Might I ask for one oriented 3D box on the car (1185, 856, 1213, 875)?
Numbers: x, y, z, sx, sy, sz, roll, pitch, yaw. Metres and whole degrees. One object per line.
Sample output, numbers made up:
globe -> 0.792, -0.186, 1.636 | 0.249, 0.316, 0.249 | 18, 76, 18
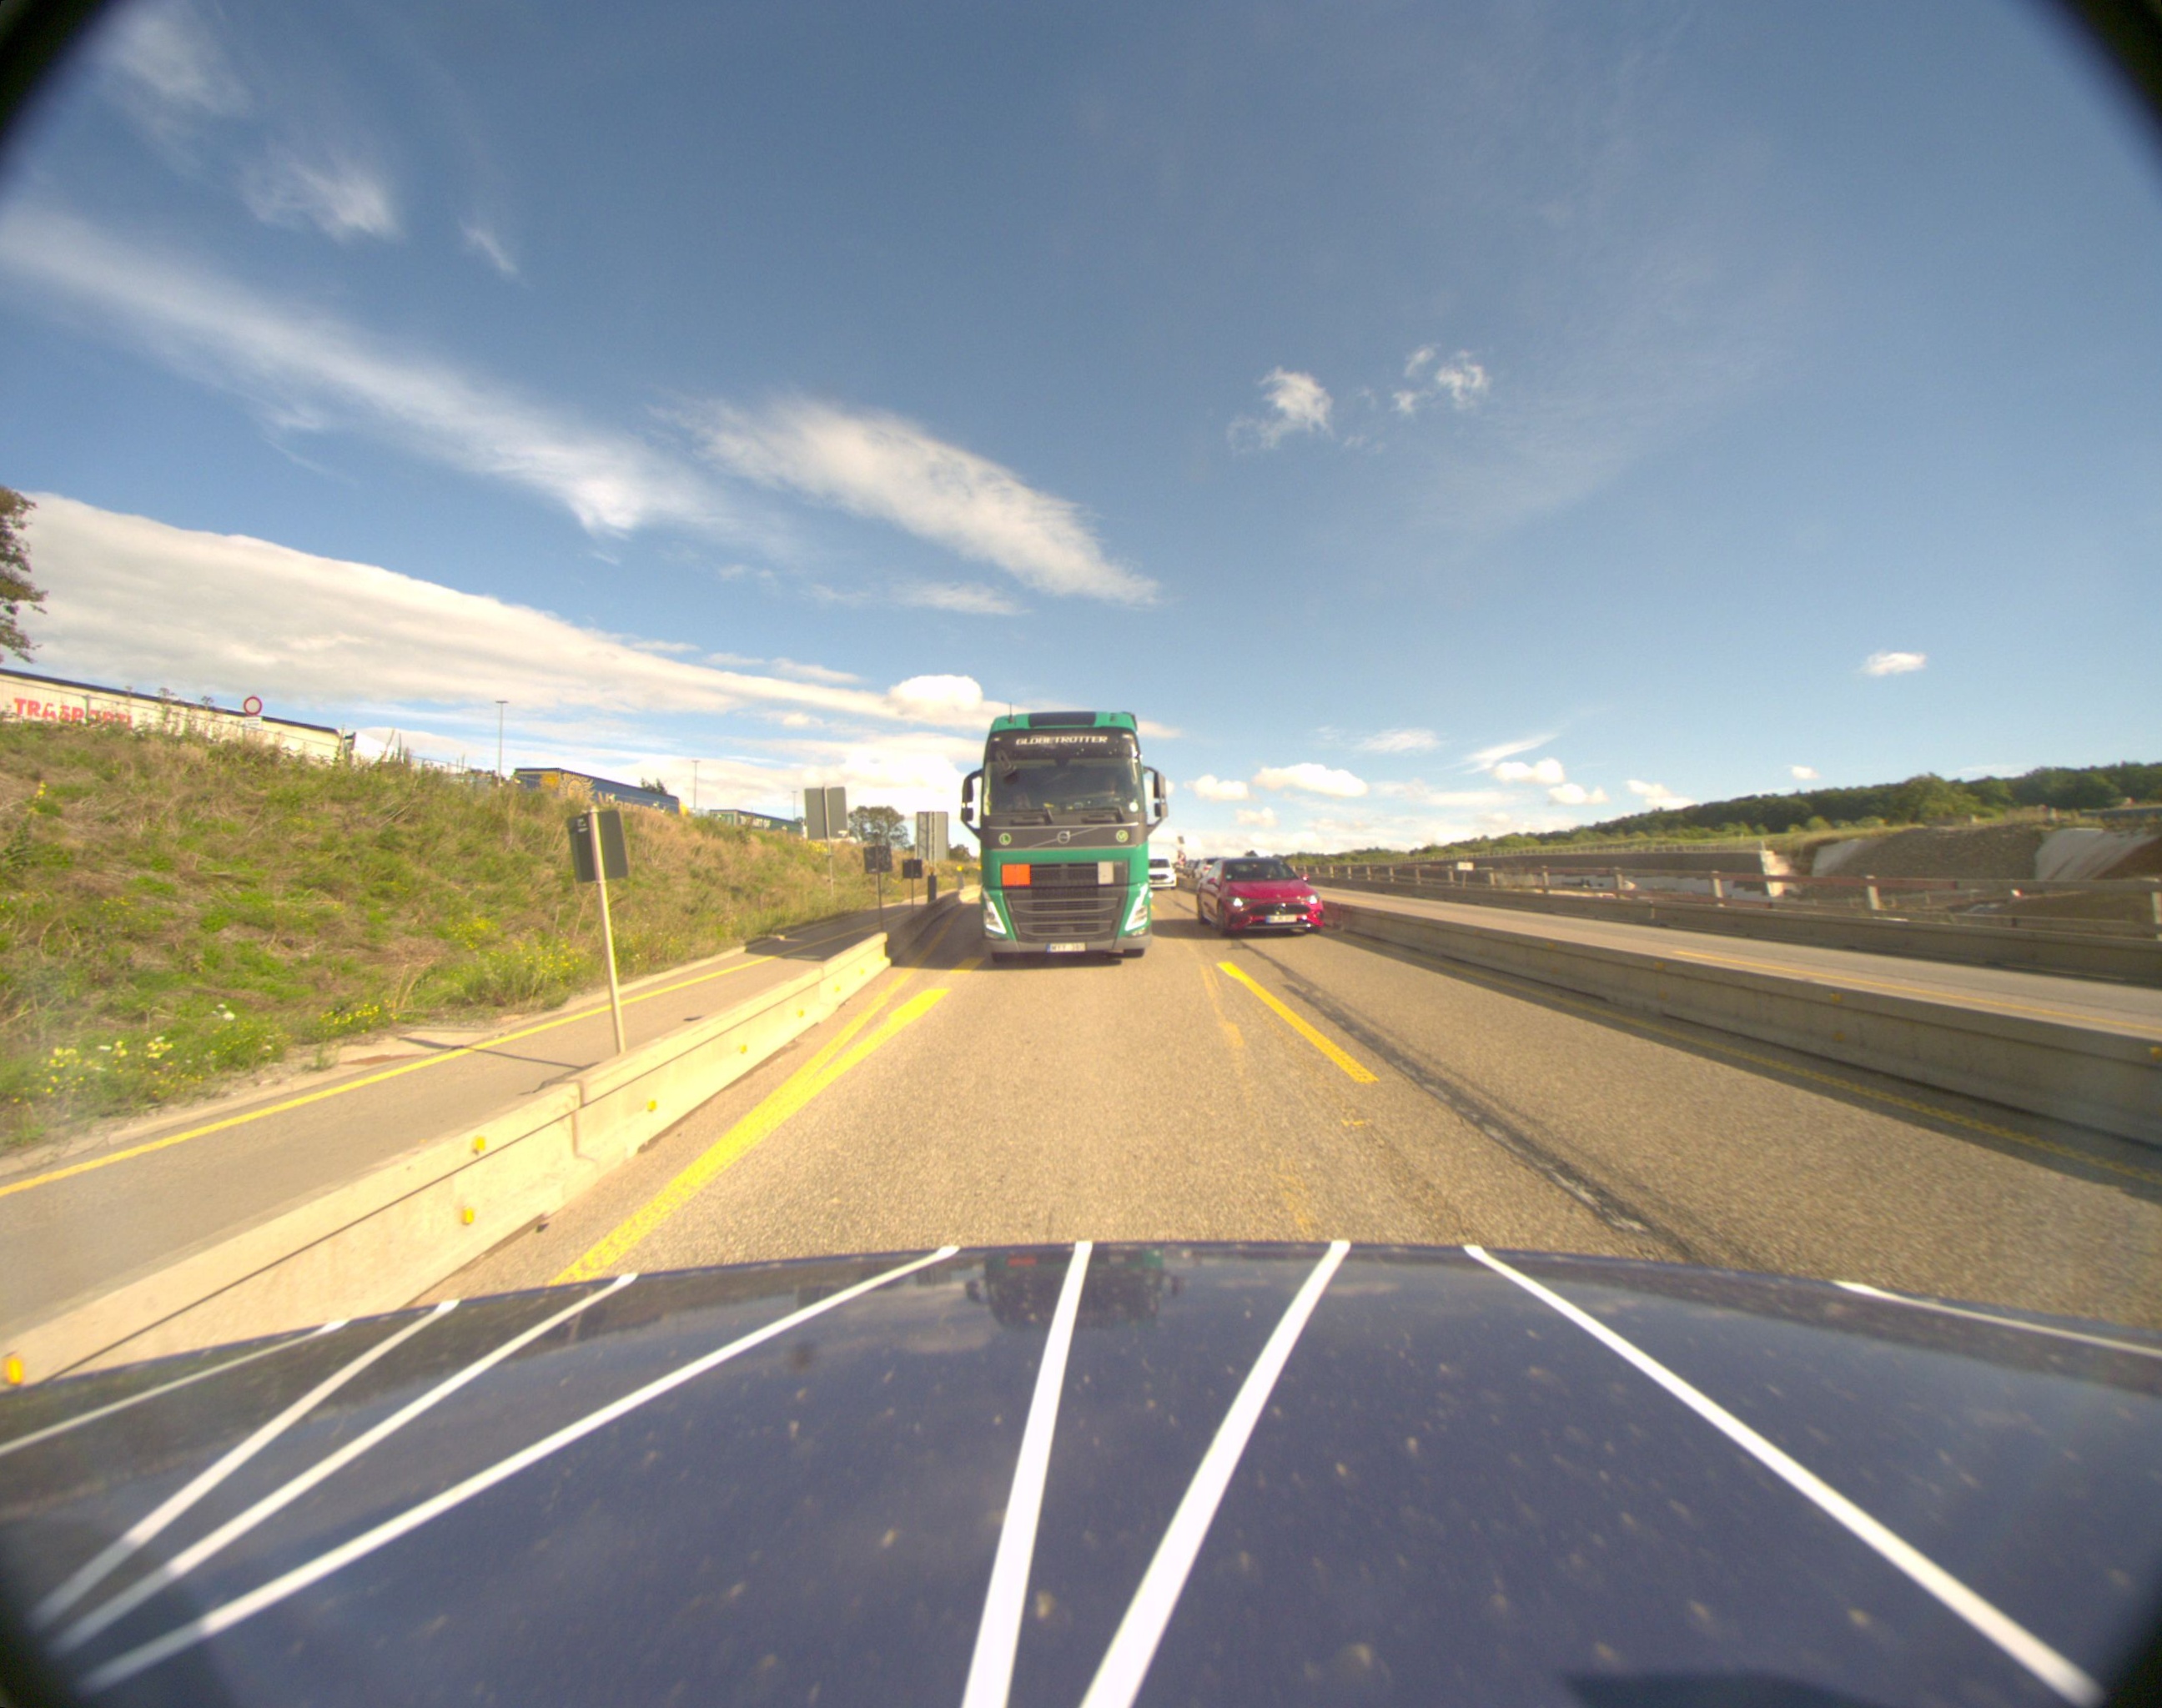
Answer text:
car -> 9.683, 0.903, 62.682 | 1.827, 1.483, 4.325 | 0, 0, 2

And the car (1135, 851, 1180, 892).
car -> 3.761, 0.822, 37.982 | 1.827, 1.813, 4.456 | -3, 0, 1

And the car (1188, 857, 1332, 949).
car -> 3.417, 0.849, 15.433 | 1.827, 1.483, 4.684 | -3, 0, 1

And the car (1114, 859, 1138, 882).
car -> 3.412, 1.225, 57.355 | 1.719, 1.499, 4.000 | -2, 1, 3

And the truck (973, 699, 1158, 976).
truck -> -0.188, -0.259, 15.022 | 2.546, 3.899, 8.278 | -2, 1, 0

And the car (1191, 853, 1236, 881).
car -> 7.435, 0.722, 42.920 | 1.827, 1.483, 4.000 | 0, 0, 0

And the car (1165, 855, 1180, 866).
car -> 12.765, 0.928, 106.262 | 1.827, 1.483, 4.000 | 0, 0, 2
